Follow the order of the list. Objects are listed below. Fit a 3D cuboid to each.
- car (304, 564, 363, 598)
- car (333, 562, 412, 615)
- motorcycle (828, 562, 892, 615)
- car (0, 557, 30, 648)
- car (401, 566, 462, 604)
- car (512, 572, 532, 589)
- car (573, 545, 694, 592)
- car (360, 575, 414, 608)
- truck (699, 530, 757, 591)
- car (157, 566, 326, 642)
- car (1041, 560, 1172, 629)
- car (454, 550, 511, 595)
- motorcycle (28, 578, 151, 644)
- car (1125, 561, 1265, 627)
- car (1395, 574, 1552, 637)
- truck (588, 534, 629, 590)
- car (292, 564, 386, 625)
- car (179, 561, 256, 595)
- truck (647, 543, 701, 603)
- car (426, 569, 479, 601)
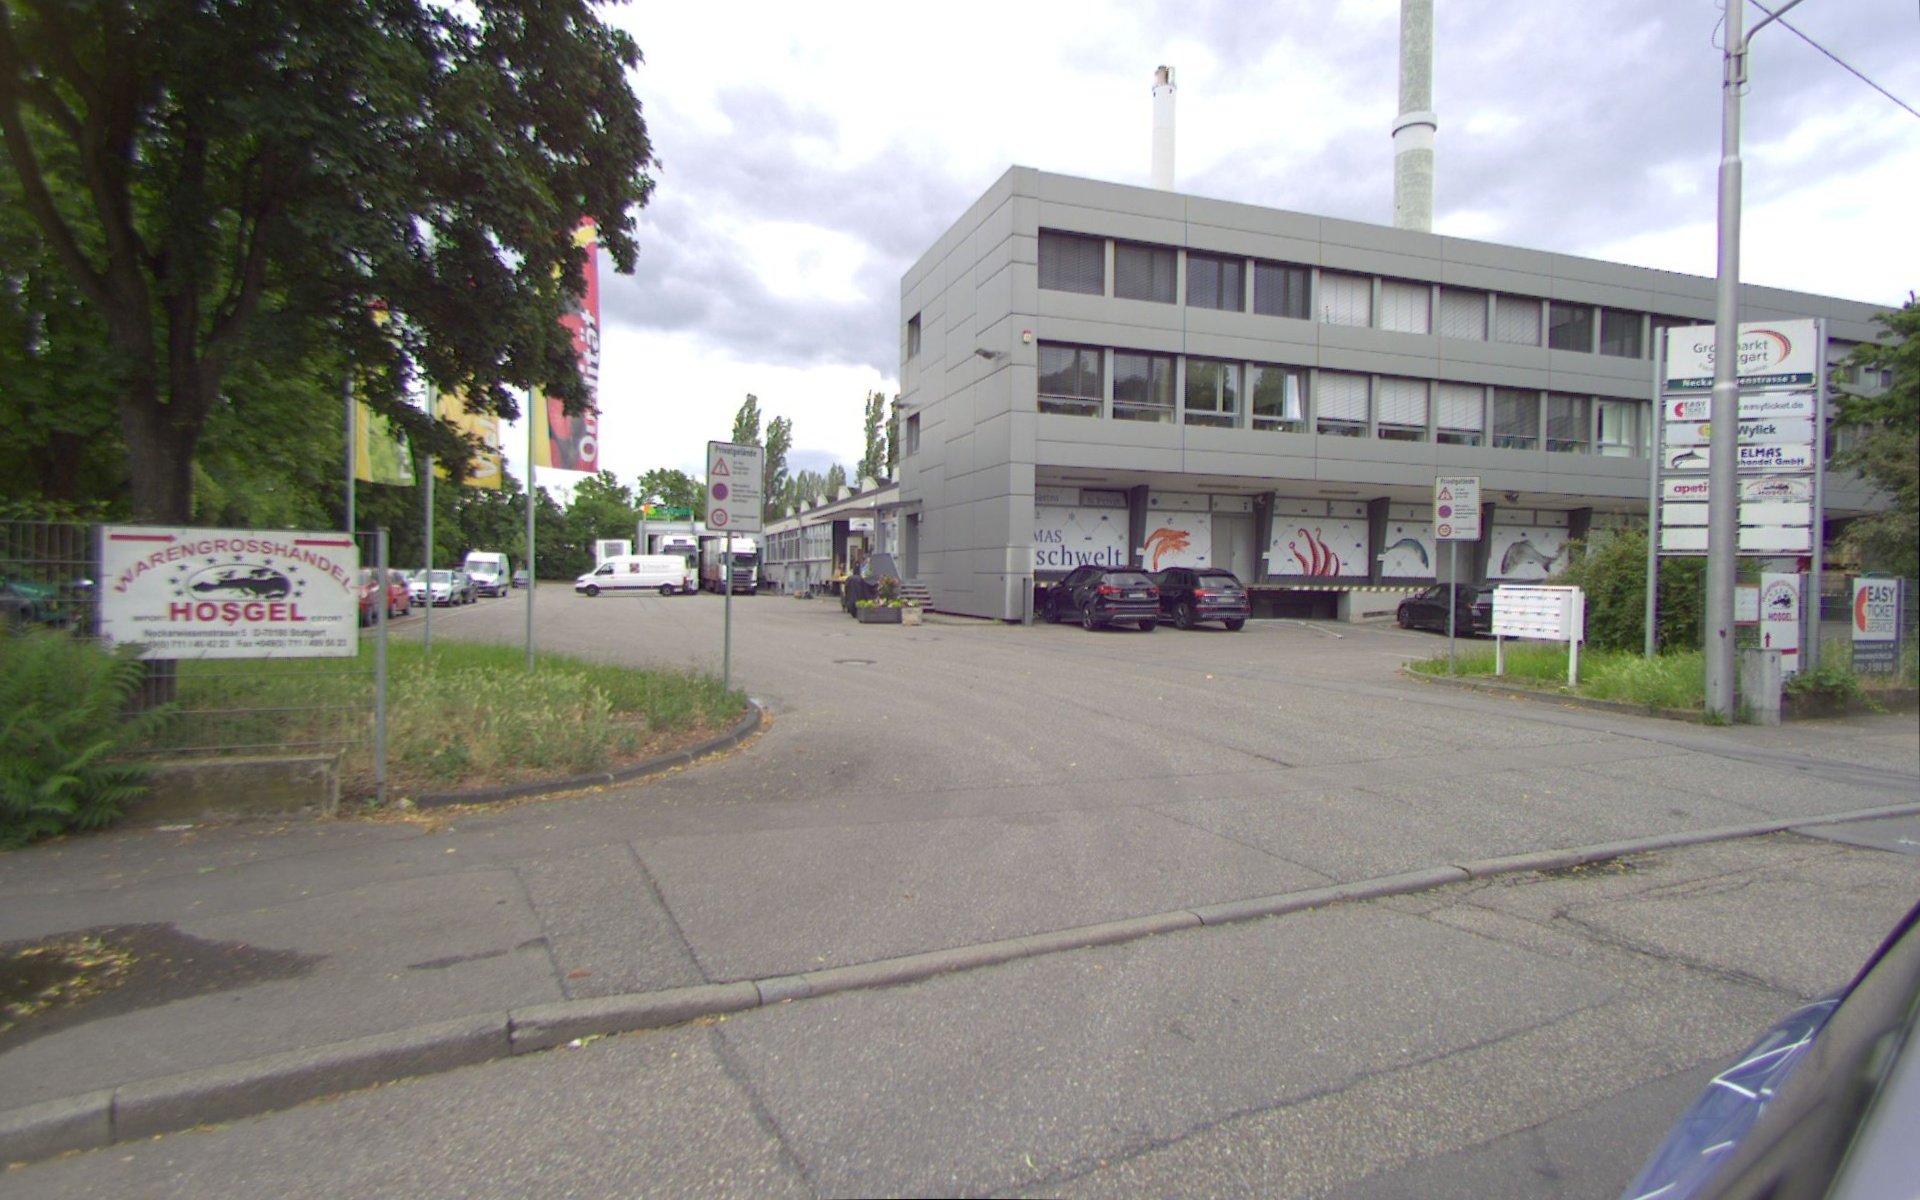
[{"bbox_3d":[-28.853,-0.882,46.701,1.564,1.458,3.669,1,1,-19],"label":"car"},{"bbox_3d":[-19.196,-0.411,33.206,1.564,1.615,3.798,1,1,-20],"label":"car"},{"bbox_3d":[-3.300,-0.405,33.731,1.180,1.675,2.881,1,1,15],"label":"motorcycle"},{"bbox_3d":[-17.359,0.060,16.652,1.602,1.600,3.749,1,1,-18],"label":"car"},{"bbox_3d":[-22.546,-0.644,43.329,1.564,1.531,3.814,1,1,-16],"label":"car"},{"bbox_3d":[-38.078,-1.714,88.031,1.564,1.458,3.668,1,1,-23],"label":"car"},{"bbox_3d":[-20.247,-1.929,62.904,7.003,2.766,2.249,1,1,-18],"label":"car"},{"bbox_3d":[-26.850,-0.408,47.505,1.564,1.458,3.669,1,1,-19],"label":"car"},{"bbox_3d":[-17.710,-2.875,76.285,2.812,4.075,15.887,1,1,-18],"label":"truck"},{"bbox_3d":[-13.155,0.022,18.771,1.674,1.264,3.710,1,1,-21],"label":"car"},{"bbox_3d":[3.853,-0.213,27.481,1.800,1.637,4.477,1,3,-16],"label":"car"},{"bbox_3d":[-28.320,-1.649,60.219,2.261,2.510,6.942,1,1,-19],"label":"car"},{"bbox_3d":[-15.546,0.163,18.160,0.995,1.102,2.102,1,1,-20],"label":"motorcycle"},{"bbox_3d":[6.461,-0.227,28.366,1.800,1.637,4.435,1,3,-17],"label":"car"},{"bbox_3d":[14.563,0.084,29.073,2.012,1.462,4.831,1,3,1],"label":"car"},{"bbox_3d":[-28.455,-3.052,82.206,2.936,4.217,9.210,1,1,-18],"label":"truck"},{"bbox_3d":[-17.340,-0.176,28.397,1.602,1.586,3.570,1,1,-21],"label":"car"},{"bbox_3d":[-29.713,-0.904,40.596,1.384,1.283,3.325,1,1,-15],"label":"car"},{"bbox_3d":[-21.361,-2.002,74.900,2.792,3.982,15.765,1,1,-20],"label":"truck"},{"bbox_3d":[-24.043,-0.731,48.026,1.564,1.458,3.669,1,1,-16],"label":"car"}]
